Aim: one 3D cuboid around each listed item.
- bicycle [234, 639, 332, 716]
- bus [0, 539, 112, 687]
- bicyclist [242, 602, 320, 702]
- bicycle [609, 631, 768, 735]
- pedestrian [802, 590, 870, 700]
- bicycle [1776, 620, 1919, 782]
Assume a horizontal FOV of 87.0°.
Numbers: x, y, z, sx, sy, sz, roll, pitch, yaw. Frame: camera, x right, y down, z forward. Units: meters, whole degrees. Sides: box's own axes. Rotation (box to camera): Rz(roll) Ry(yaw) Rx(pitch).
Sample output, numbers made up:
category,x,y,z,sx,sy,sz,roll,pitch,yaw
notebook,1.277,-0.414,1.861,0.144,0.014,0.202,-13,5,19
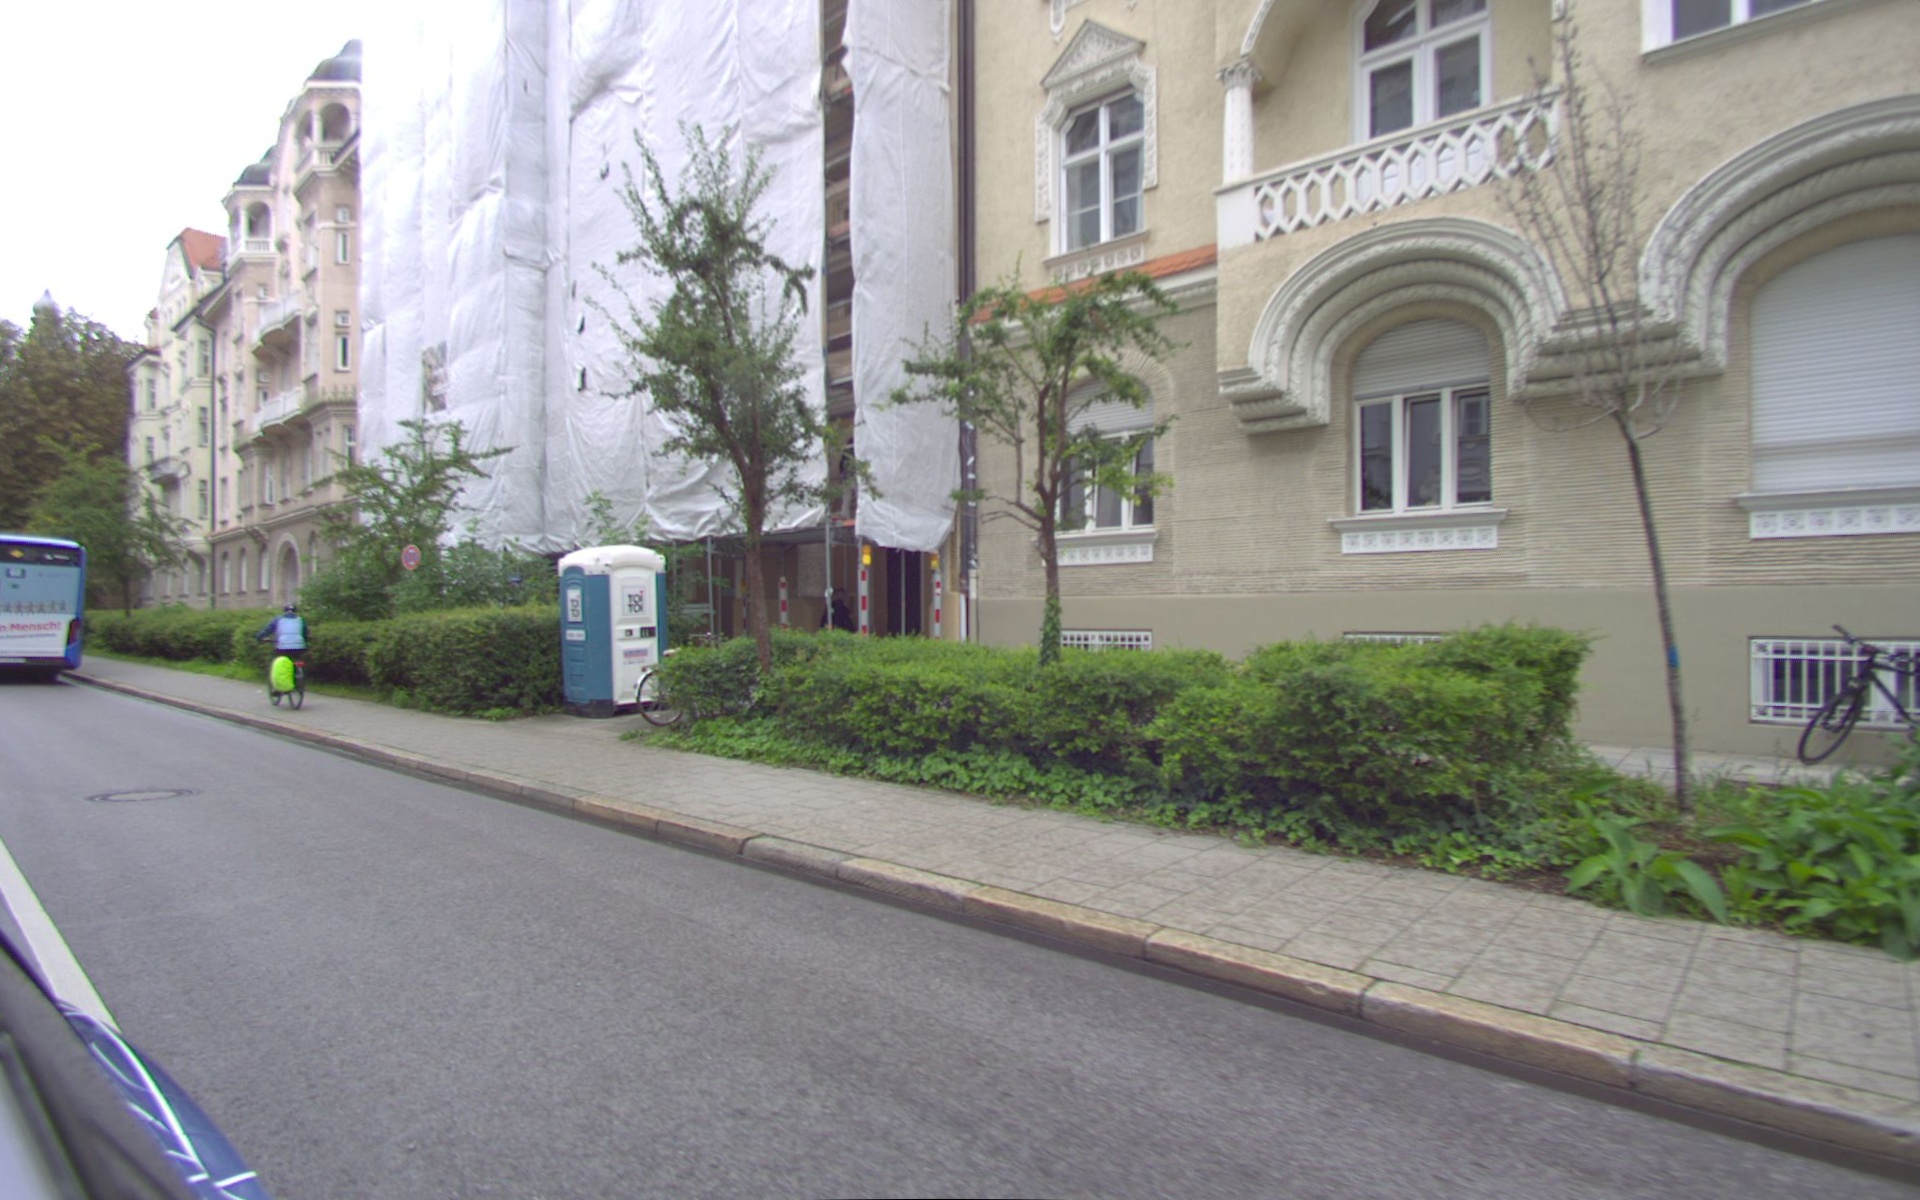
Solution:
category,x,y,z,sx,sy,sz,roll,pitch,yaw
bicycle,-10.788,1.199,16.091,2.048,1.090,0.760,-1,0,41
bus,-27.429,0.398,28.330,18.053,3.236,3.137,-1,-3,42
bicyclist,-10.784,0.799,16.069,1.060,1.504,0.760,-1,0,40
bicycle,-3.448,1.015,12.988,0.690,1.085,1.840,-1,3,43
pedestrian,-2.040,0.721,16.684,0.772,1.759,0.761,-1,0,40
bicycle,7.716,0.771,7.874,2.077,1.215,0.812,-1,0,42
